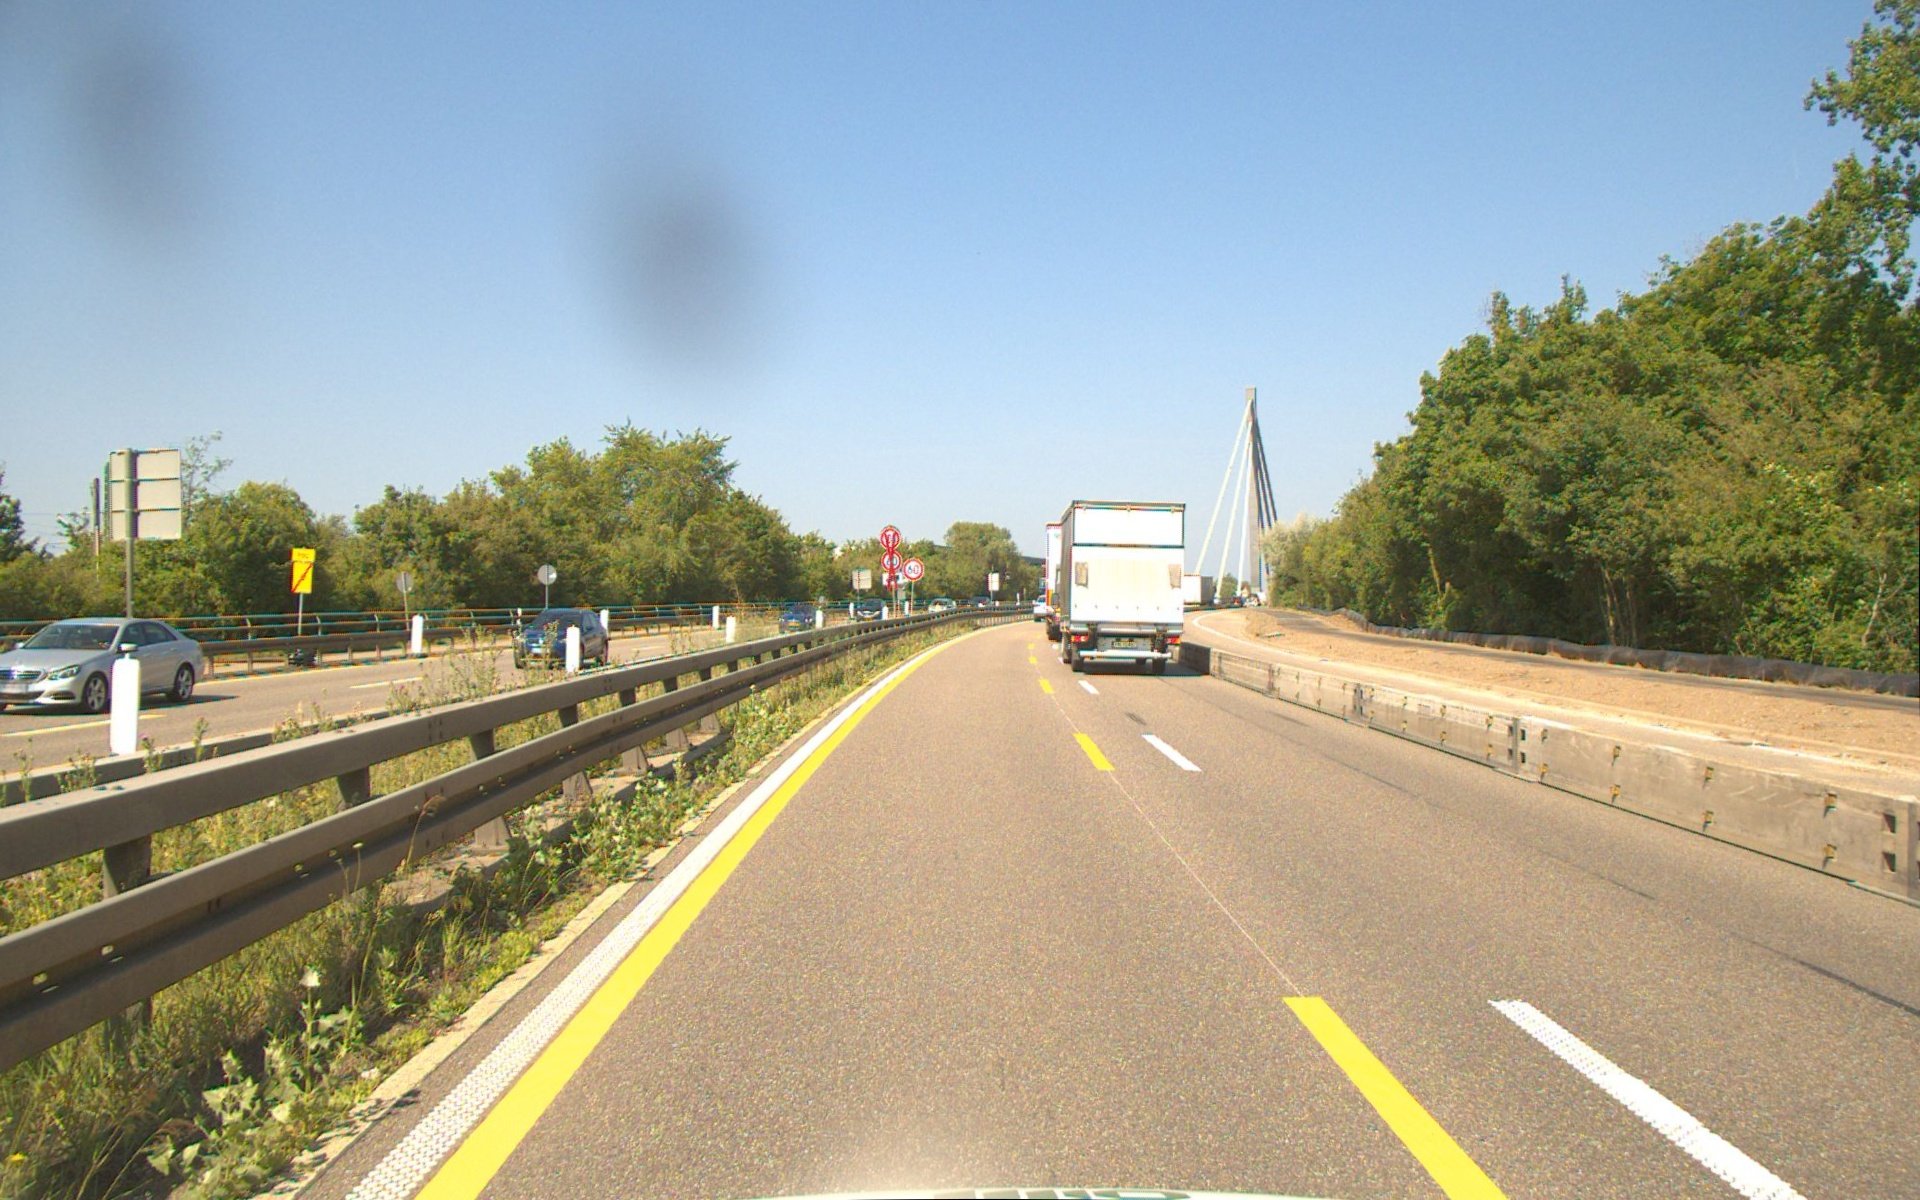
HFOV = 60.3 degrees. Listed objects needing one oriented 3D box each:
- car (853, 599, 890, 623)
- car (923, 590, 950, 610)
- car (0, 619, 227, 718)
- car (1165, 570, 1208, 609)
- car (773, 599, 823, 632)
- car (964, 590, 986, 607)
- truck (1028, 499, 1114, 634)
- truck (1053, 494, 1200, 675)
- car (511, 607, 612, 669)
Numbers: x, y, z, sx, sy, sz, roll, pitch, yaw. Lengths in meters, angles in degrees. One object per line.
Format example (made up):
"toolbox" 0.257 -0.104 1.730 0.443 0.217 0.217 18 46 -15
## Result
"car" -6.211 0.766 116.427 1.951 1.579 4.003 -1 0 6
"car" -1.945 0.004 137.976 1.952 1.579 4.002 -1 0 3
"car" -14.605 1.098 28.128 1.845 1.445 4.862 -1 0 3
"car" 27.146 -1.282 197.550 4.117 4.325 10.671 -2 1 12
"car" -8.183 0.756 83.886 1.952 1.579 4.001 -1 0 3
"car" 1.465 -0.154 162.716 1.952 1.579 4.002 -1 0 4
"truck" 3.926 -1.169 59.764 2.580 4.547 7.233 1 0 0
"truck" 3.455 -0.319 35.958 2.580 3.487 7.234 1 0 1
"car" -10.682 0.987 44.607 1.702 1.524 4.000 -1 0 1
